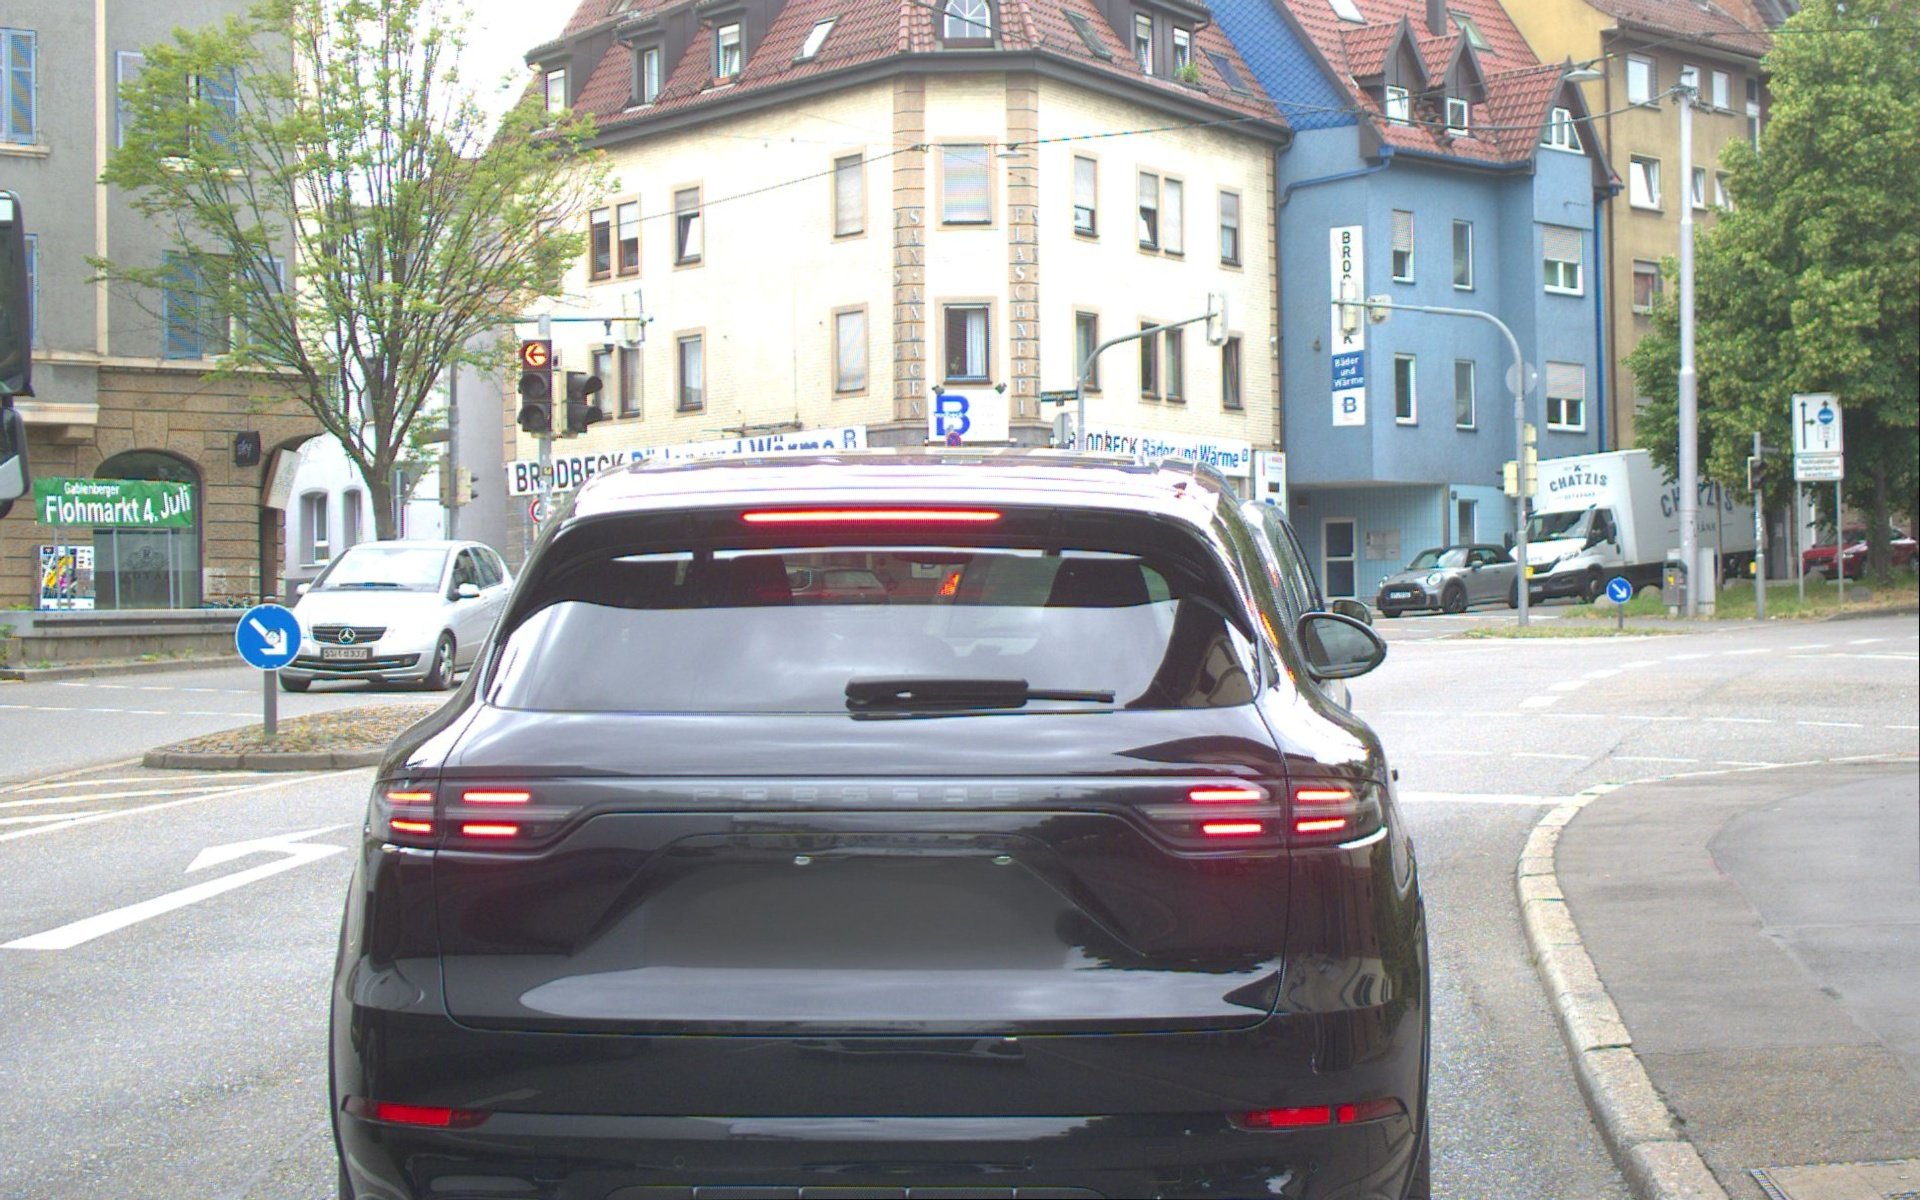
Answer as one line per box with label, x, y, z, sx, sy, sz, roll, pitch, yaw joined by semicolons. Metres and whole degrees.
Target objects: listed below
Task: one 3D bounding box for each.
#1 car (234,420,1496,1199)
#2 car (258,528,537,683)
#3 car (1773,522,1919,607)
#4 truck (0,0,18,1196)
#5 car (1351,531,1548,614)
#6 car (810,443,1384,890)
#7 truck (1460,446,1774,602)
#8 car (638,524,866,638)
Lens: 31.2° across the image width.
car;-0.256;0.503;7.404;1.978;1.678;4.001;0;2;-3
car;-5.970;0.069;36.963;1.889;1.574;3.968;0;0;8
car;22.307;-0.885;86.142;1.999;2.007;3.990;2;1;43
truck;-3.499;-0.368;3.697;2.769;3.562;8.065;0;1;0
car;10.233;-0.587;71.804;3.989;1.678;1.999;-1;1;-42
car;0.749;0.223;15.070;1.994;1.678;3.998;0;1;10
truck;15.117;-1.681;78.524;2.880;3.328;8.772;2;1;41
car;-3.824;-0.361;62.745;1.994;2.007;3.998;1;0;-44
